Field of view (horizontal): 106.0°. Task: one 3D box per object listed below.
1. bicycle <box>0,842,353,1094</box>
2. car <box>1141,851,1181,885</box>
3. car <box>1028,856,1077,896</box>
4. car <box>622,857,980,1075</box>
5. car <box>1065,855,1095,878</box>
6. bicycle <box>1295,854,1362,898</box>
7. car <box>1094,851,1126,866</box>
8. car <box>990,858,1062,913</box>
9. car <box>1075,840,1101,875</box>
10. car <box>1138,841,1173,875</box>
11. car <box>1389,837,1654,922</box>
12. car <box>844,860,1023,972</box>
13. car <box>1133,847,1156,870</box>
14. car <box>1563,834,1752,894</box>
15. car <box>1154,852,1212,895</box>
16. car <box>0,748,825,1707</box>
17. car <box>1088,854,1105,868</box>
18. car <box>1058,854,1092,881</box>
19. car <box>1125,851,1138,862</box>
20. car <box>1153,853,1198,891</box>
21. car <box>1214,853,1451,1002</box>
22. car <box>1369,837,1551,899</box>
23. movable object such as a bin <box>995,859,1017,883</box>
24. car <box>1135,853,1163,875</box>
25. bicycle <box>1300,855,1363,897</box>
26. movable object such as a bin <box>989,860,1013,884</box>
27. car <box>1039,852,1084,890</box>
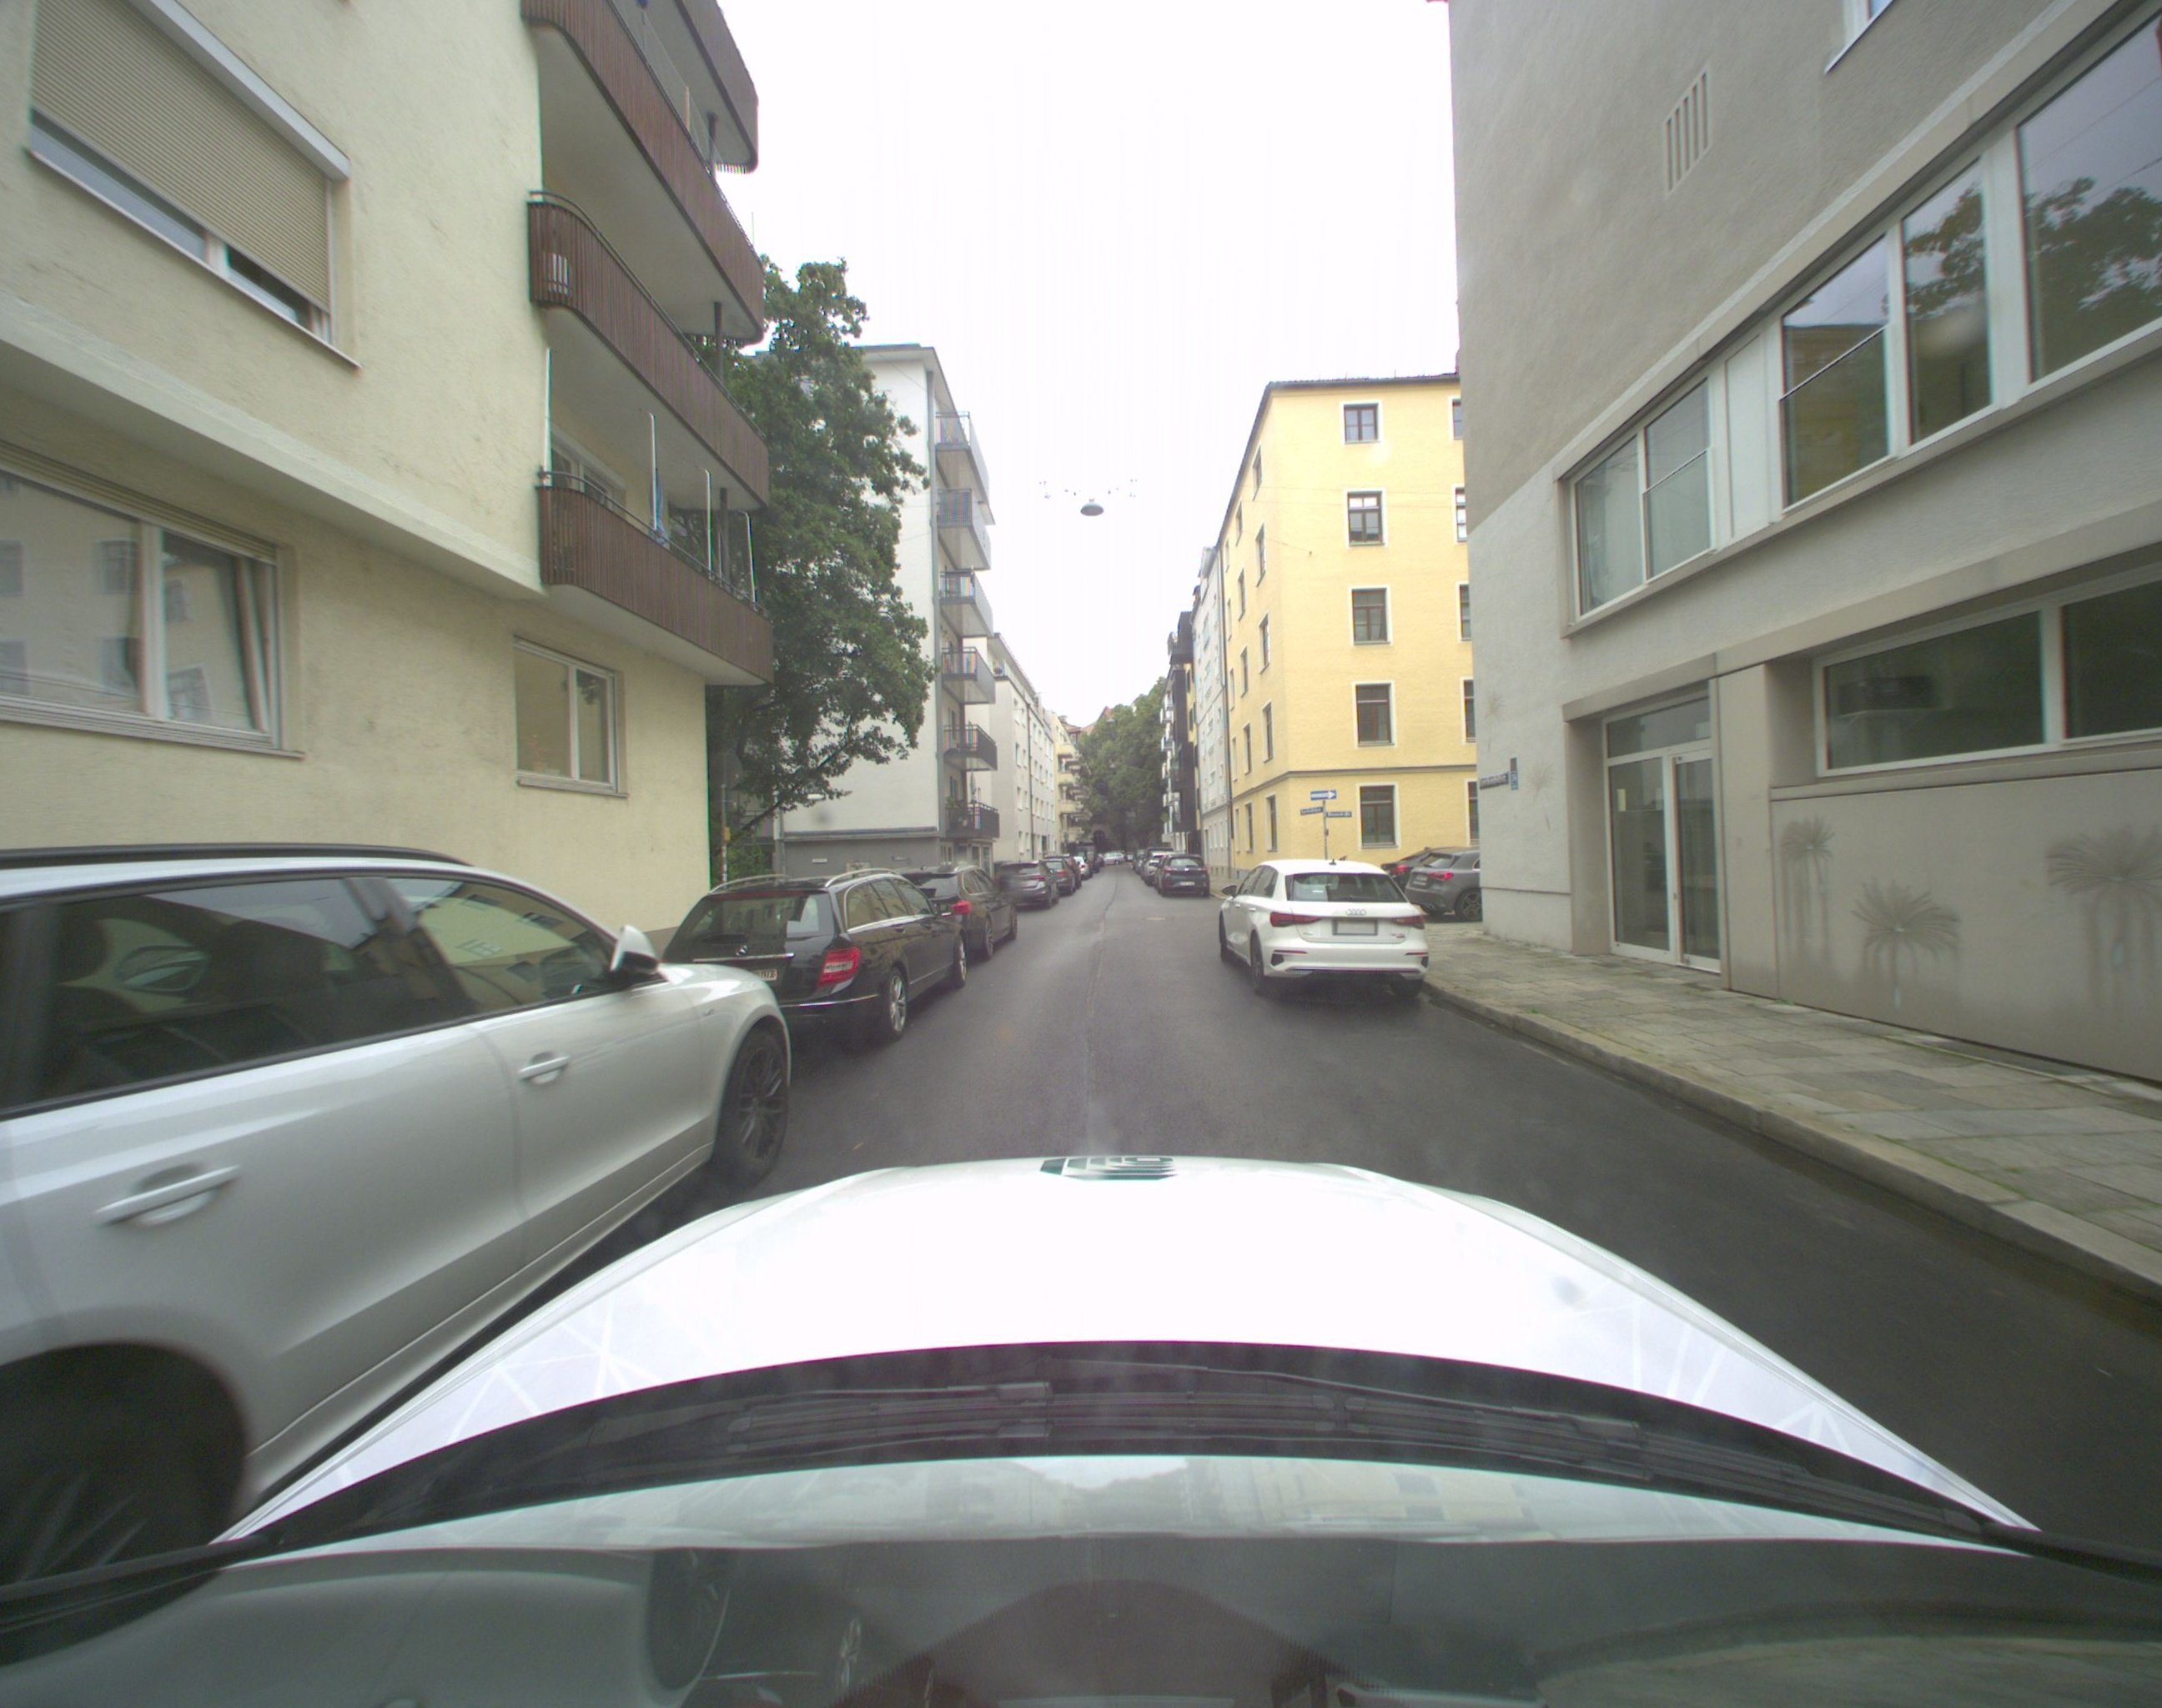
[{"bbox_3d":[-5.289,0.551,4.593,0.642,1.161,1.790,-4,-1,3],"label":"bicycle"},{"bbox_3d":[3.896,0.654,40.061,1.676,1.567,4.417,1,0,2],"label":"car"},{"bbox_3d":[-1.089,0.835,32.899,1.687,1.442,3.978,-3,0,1],"label":"car"},{"bbox_3d":[-2.335,0.835,8.184,1.758,1.483,4.428,-3,0,4],"label":"car"},{"bbox_3d":[-0.031,0.838,56.961,1.770,1.452,4.048,-5,0,2],"label":"car"},{"bbox_3d":[7.460,0.659,24.587,1.802,1.174,0.505,-3,1,0],"label":"bicycle"},{"bbox_3d":[3.556,0.572,100.080,3.872,1.584,1.648,-5,0,1],"label":"car"},{"bbox_3d":[-1.608,0.905,25.054,1.686,1.442,3.945,-3,0,3],"label":"car"},{"bbox_3d":[0.632,0.313,71.593,1.929,2.801,4.535,-5,0,2],"label":"car"},{"bbox_3d":[4.322,0.225,47.643,1.822,1.910,4.418,0,0,2],"label":"car"},{"bbox_3d":[8.583,0.455,16.155,4.192,1.399,2.000,-2,2,-1],"label":"car"},{"bbox_3d":[-2.184,0.869,13.388,1.848,1.408,4.386,-3,0,3],"label":"car"},{"bbox_3d":[5.769,0.382,74.404,1.822,1.999,4.418,1,0,2],"label":"car"},{"bbox_3d":[15.827,0.298,22.515,3.959,1.494,1.712,-2,-2,2],"label":"car"},{"bbox_3d":[3.706,0.660,30.188,1.744,1.469,4.345,1,0,2],"label":"car"},{"bbox_3d":[-2.448,0.729,2.492,1.759,1.675,4.369,-3,-1,2],"label":"car"},{"bbox_3d":[1.721,0.804,90.113,1.636,1.383,3.484,-5,0,2],"label":"car"},{"bbox_3d":[-0.353,0.814,51.673,1.769,1.487,4.523,-5,0,3],"label":"car"},{"bbox_3d":[7.222,0.383,117.052,1.636,1.383,3.747,-5,0,2],"label":"car"},{"bbox_3d":[3.953,0.719,34.438,1.657,1.469,3.822,1,0,3],"label":"car"},{"bbox_3d":[2.780,0.725,9.955,1.812,1.408,3.954,-1,0,2],"label":"car"},{"bbox_3d":[10.346,0.375,22.447,4.198,1.494,1.711,-2,-1,0],"label":"car"},{"bbox_3d":[-4.513,1.033,49.227,1.042,1.337,0.994,-4,0,5],"label":"movable object such as a bin"},{"bbox_3d":[4.853,0.697,58.602,1.822,1.454,4.418,1,0,2],"label":"car"},{"bbox_3d":[7.412,0.640,24.108,1.707,1.139,0.374,-3,1,1],"label":"bicycle"},{"bbox_3d":[-4.712,1.043,48.155,1.161,1.337,1.027,-4,0,5],"label":"movable object such as a bin"},{"bbox_3d":[-0.858,0.761,38.592,1.770,1.629,4.417,-3,0,2],"label":"car"}]
